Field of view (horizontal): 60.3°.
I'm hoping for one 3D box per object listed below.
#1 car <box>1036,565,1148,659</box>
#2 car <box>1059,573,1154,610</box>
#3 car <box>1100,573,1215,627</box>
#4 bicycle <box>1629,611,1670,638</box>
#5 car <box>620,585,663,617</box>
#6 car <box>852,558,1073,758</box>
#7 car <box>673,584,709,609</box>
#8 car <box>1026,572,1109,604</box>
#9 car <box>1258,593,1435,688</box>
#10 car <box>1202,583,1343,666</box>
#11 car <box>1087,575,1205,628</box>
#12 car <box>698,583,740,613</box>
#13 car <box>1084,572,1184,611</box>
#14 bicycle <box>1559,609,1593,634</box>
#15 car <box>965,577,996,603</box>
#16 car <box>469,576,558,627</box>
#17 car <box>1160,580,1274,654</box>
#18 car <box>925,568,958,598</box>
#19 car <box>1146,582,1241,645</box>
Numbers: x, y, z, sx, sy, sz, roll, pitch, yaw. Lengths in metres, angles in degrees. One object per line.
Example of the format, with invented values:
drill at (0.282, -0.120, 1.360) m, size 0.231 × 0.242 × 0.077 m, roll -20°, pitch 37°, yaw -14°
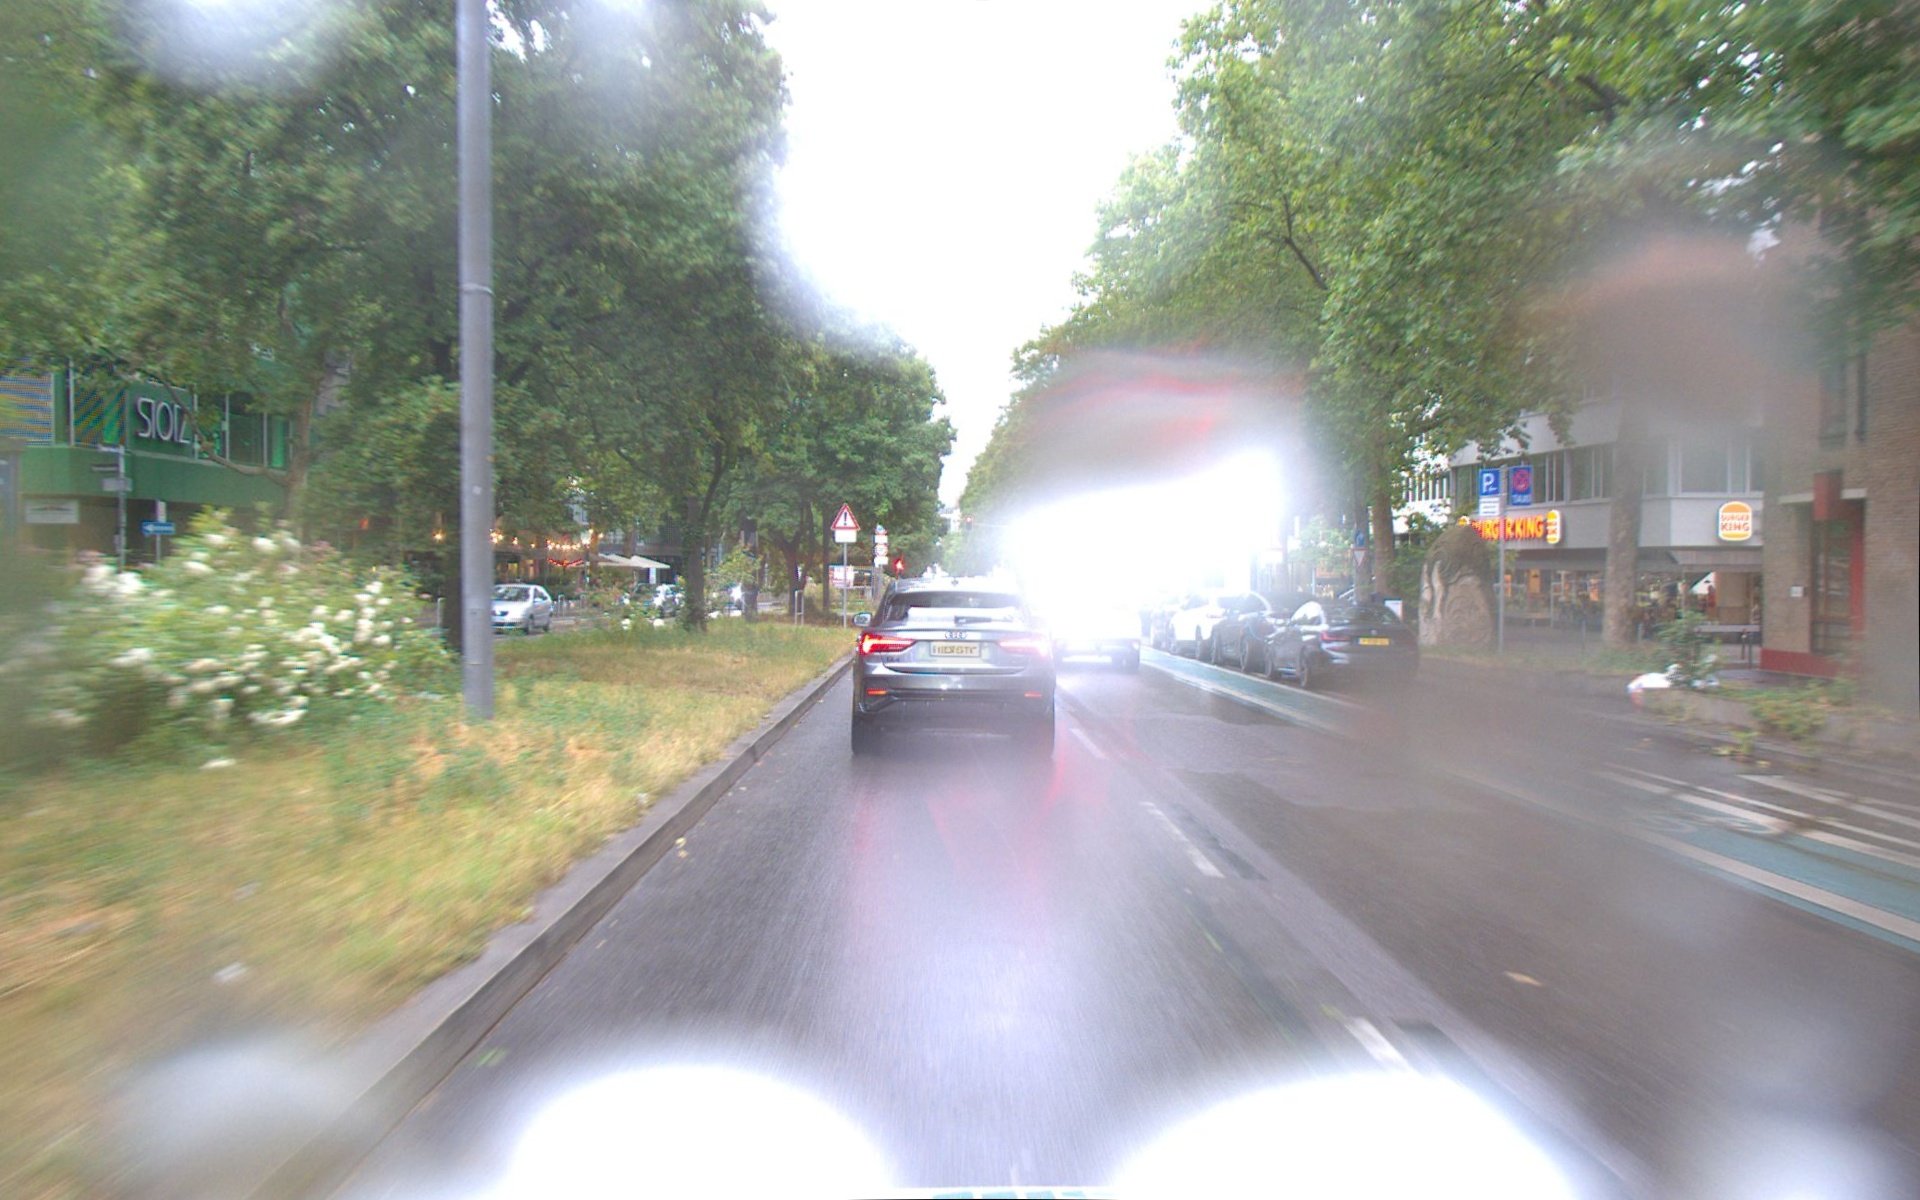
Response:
car at (2.630, 0.232, 33.708) m, size 1.840 × 1.727 × 3.999 m, roll 2°, pitch 0°, yaw -1°
car at (7.676, -0.444, 86.616) m, size 4.548 × 1.736 × 1.998 m, roll 2°, pitch 0°, yaw 27°
car at (9.004, 0.000, 75.401) m, size 4.787 × 2.293 × 1.997 m, roll 2°, pitch 0°, yaw 28°
bicycle at (22.492, 0.785, 54.001) m, size 0.439 × 0.851 × 2.026 m, roll 2°, pitch 0°, yaw -1°
car at (-13.928, 0.045, 72.424) m, size 1.658 × 1.280 × 3.637 m, roll 2°, pitch 0°, yaw -9°
car at (-0.050, 0.470, 15.756) m, size 1.812 × 1.630 × 3.998 m, roll 1°, pitch 0°, yaw -2°
car at (-17.528, -0.193, 108.052) m, size 1.691 × 1.544 × 3.999 m, roll 2°, pitch 0°, yaw -1°
car at (6.542, -0.725, 100.630) m, size 4.548 × 1.736 × 1.998 m, roll 2°, pitch 0°, yaw 27°
car at (6.544, 0.629, 28.523) m, size 1.835 × 1.445 × 4.610 m, roll 2°, pitch 0°, yaw -1°
car at (6.407, 0.477, 34.391) m, size 1.830 × 1.547 × 4.556 m, roll 2°, pitch 0°, yaw -3°
car at (7.798, 0.047, 69.514) m, size 4.517 × 2.049 × 1.960 m, roll 2°, pitch 0°, yaw 37°
car at (-14.385, -0.115, 98.947) m, size 1.724 × 1.733 × 4.333 m, roll 2°, pitch 0°, yaw 1°
car at (8.690, -0.427, 82.765) m, size 4.548 × 1.736 × 1.998 m, roll 2°, pitch 0°, yaw 27°
bicycle at (22.196, 0.776, 59.639) m, size 0.439 × 0.851 × 2.026 m, roll 2°, pitch 0°, yaw -1°
car at (1.340, -0.652, 111.009) m, size 1.953 × 1.680 × 3.999 m, roll 2°, pitch 0°, yaw -1°
car at (-13.316, 0.049, 49.520) m, size 1.615 × 1.460 × 3.812 m, roll 0°, pitch 0°, yaw 0°
car at (6.013, 0.376, 39.128) m, size 1.694 × 1.599 × 4.069 m, roll 2°, pitch 0°, yaw -5°
car at (-1.154, -1.041, 102.648) m, size 1.953 × 1.757 × 3.998 m, roll 2°, pitch 0°, yaw -2°
car at (6.166, 0.353, 44.074) m, size 1.662 × 1.549 × 4.020 m, roll 2°, pitch 0°, yaw -4°
